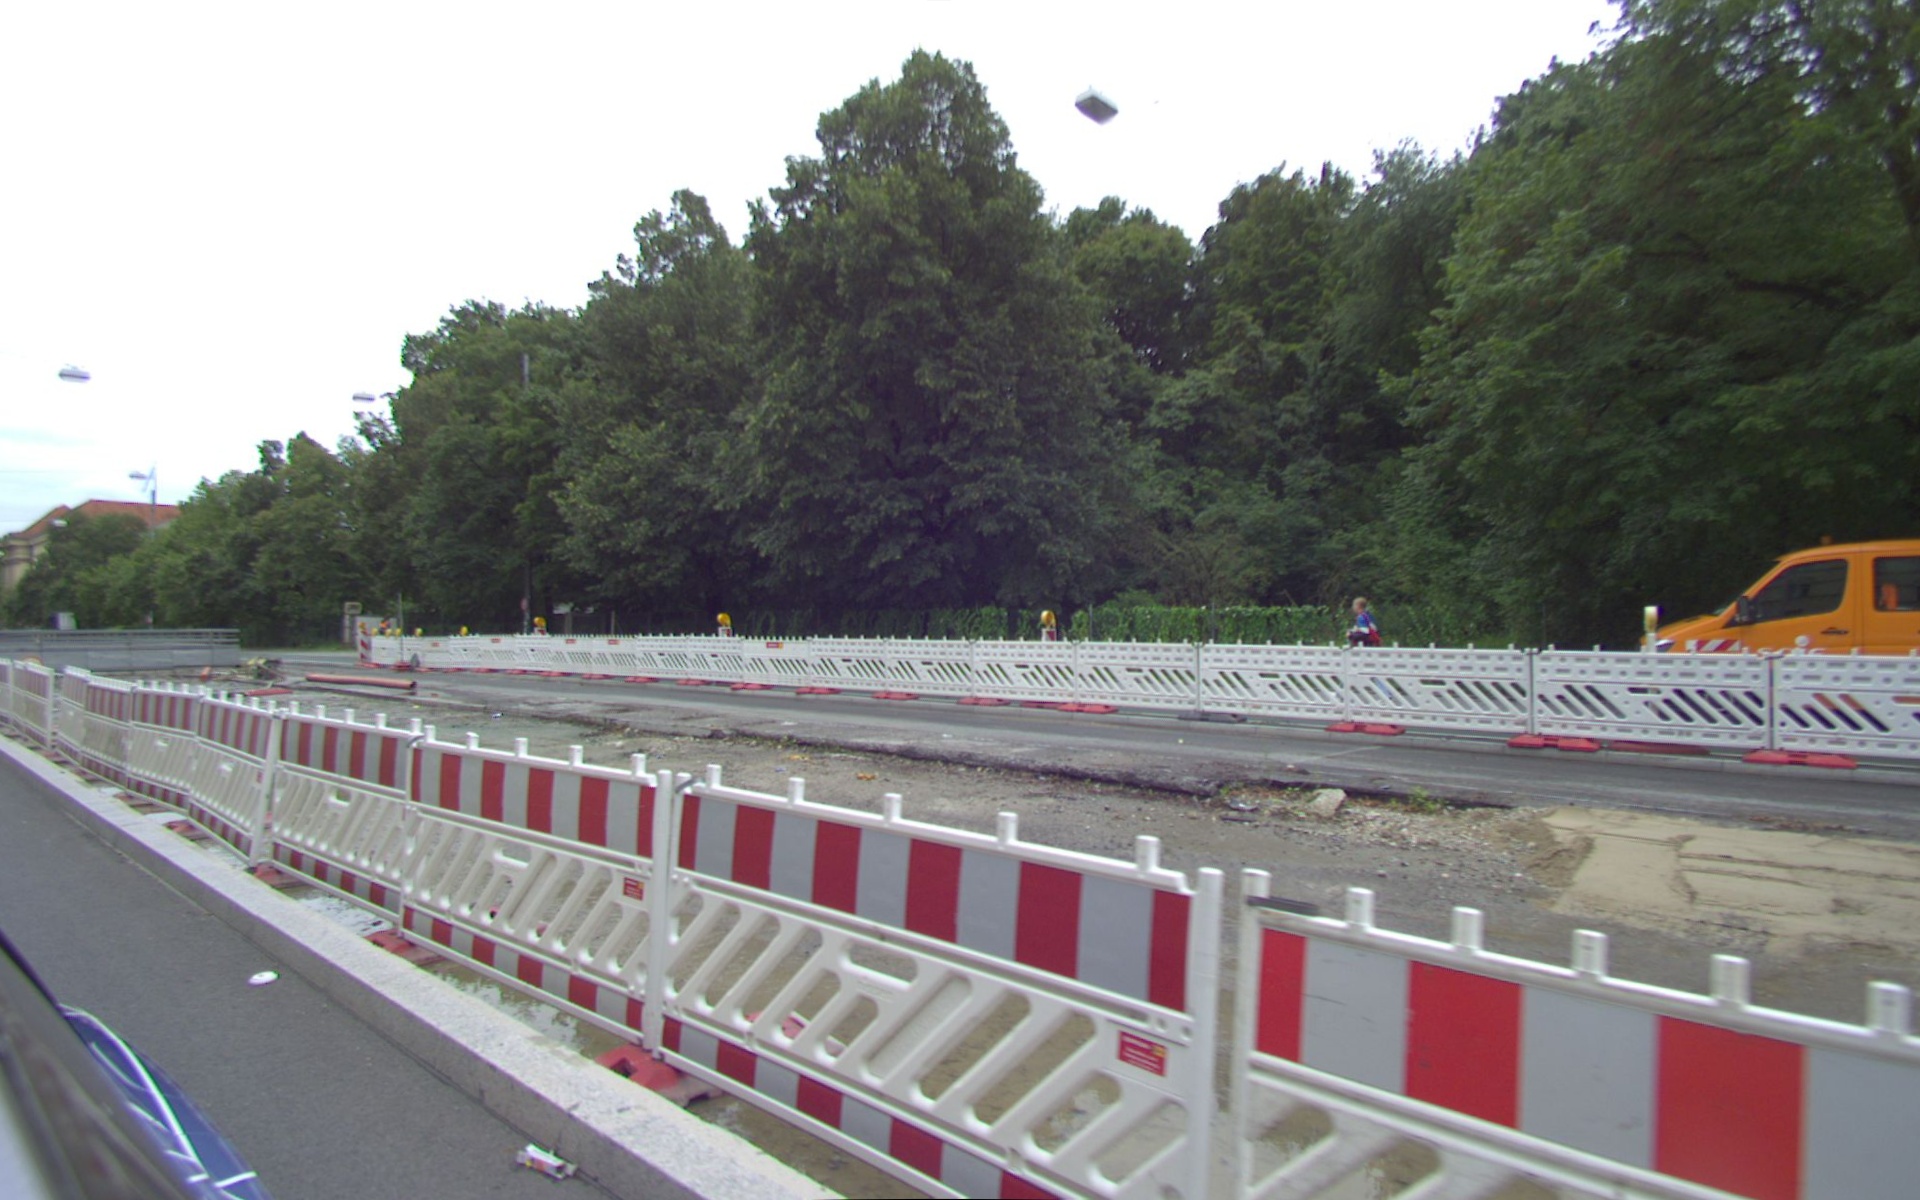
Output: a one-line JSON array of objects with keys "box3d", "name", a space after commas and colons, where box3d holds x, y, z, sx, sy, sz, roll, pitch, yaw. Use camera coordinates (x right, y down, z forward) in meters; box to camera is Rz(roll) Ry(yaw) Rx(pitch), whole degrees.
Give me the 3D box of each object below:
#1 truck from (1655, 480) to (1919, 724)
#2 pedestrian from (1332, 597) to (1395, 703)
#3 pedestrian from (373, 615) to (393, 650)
[{"box3d": [11.815, 0.023, 11.818, 5.867, 2.749, 1.972, -2, -2, 41], "name": "truck"}, {"box3d": [6.336, 0.776, 15.893, 0.698, 1.615, 0.656, -2, -2, 41], "name": "pedestrian"}, {"box3d": [-27.271, 1.533, 47.823, 0.698, 1.653, 0.656, -2, -2, 41], "name": "pedestrian"}]
